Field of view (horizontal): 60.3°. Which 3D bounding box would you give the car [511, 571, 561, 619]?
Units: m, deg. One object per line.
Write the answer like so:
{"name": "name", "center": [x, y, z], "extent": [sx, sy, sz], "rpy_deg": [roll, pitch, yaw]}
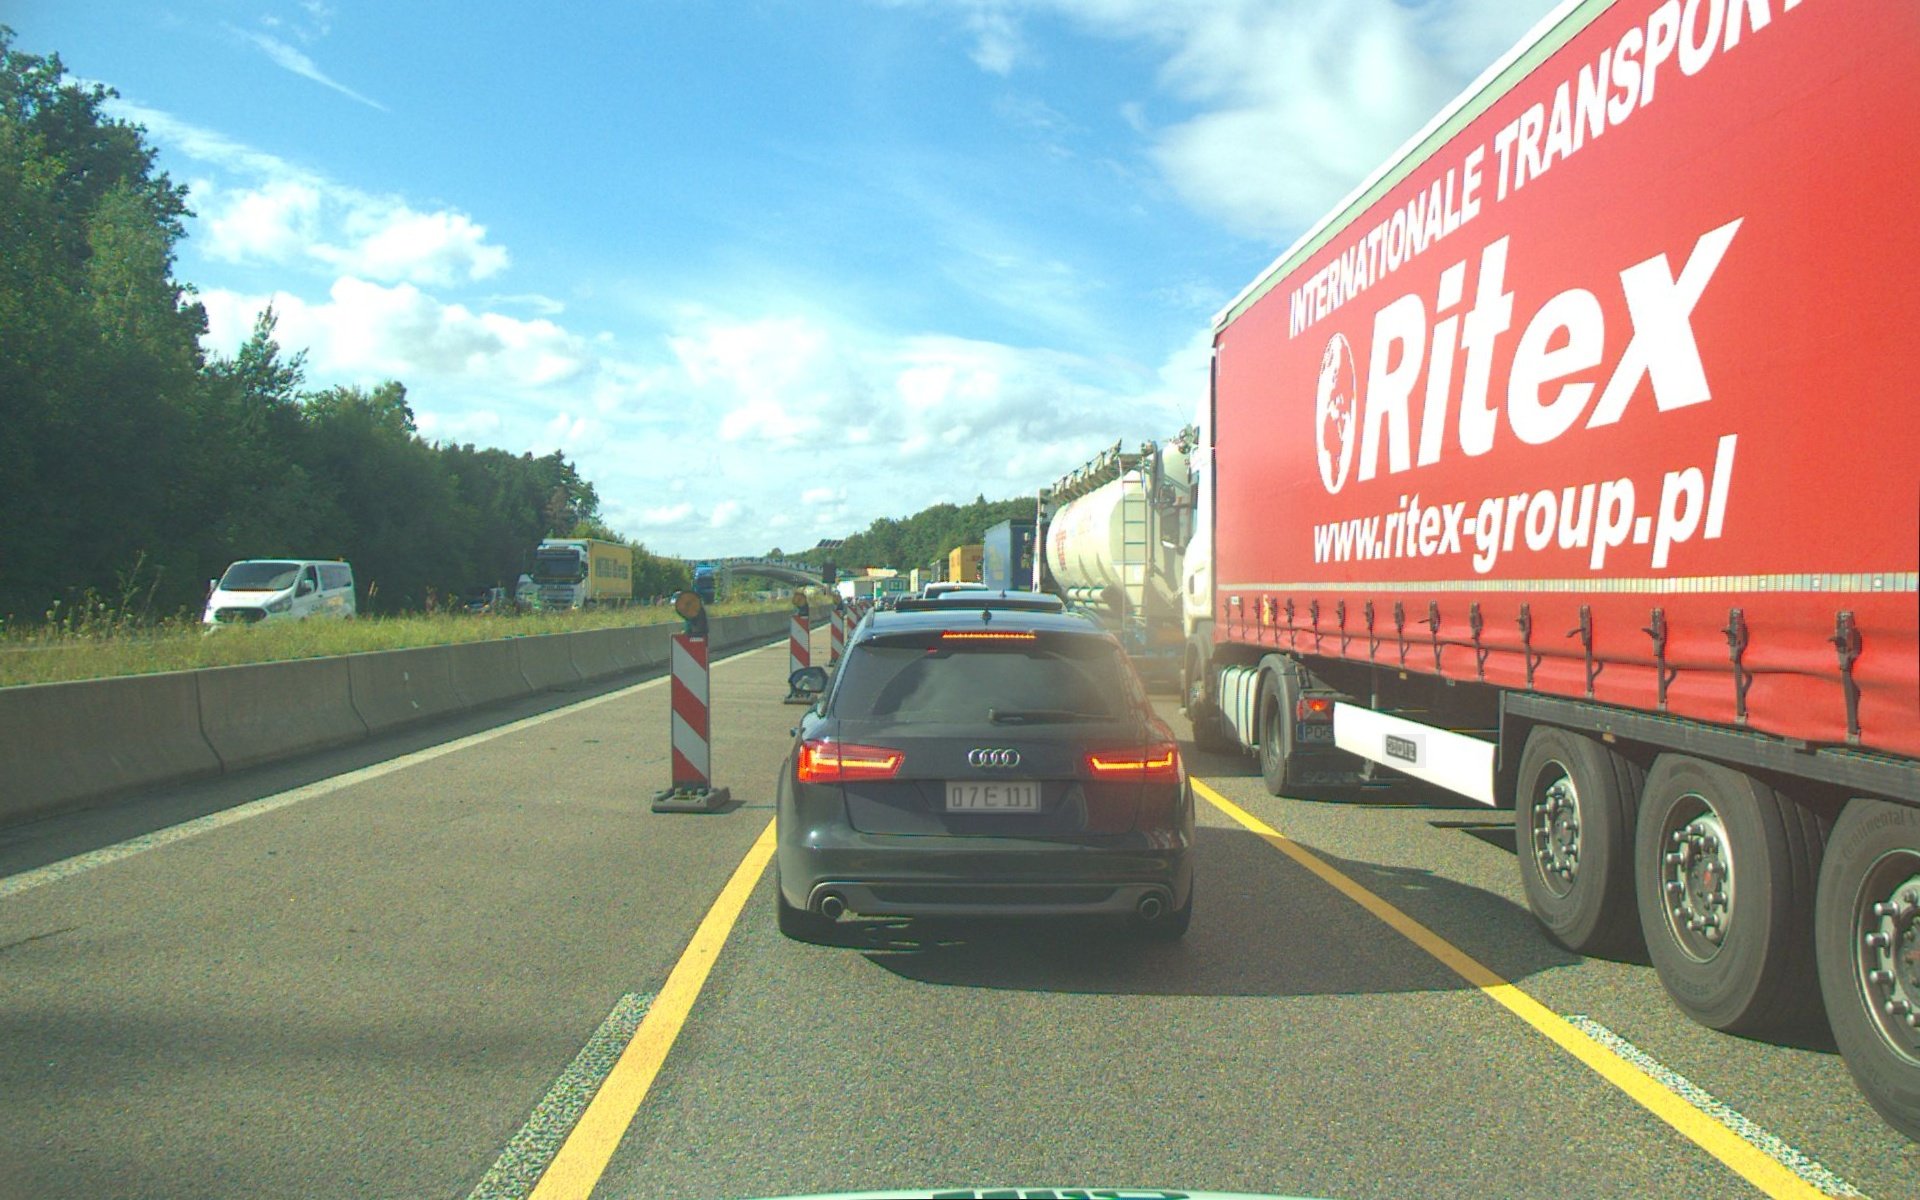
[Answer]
{"name": "car", "center": [-24.854, -0.270, 97.053], "extent": [2.208, 2.689, 5.010], "rpy_deg": [1, 0, -8]}

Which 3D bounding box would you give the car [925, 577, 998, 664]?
{"name": "car", "center": [0.013, 0.450, 37.420], "extent": [1.549, 1.869, 3.111], "rpy_deg": [1, 0, -1]}

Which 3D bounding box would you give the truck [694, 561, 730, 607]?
{"name": "truck", "center": [-23.734, -1.546, 158.481], "extent": [2.584, 4.262, 5.466], "rpy_deg": [1, 0, -1]}

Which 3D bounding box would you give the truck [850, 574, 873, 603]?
{"name": "truck", "center": [-14.846, -1.740, 248.916], "extent": [3.239, 4.248, 9.694], "rpy_deg": [1, 0, -4]}

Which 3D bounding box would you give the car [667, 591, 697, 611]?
{"name": "car", "center": [-22.342, 0.101, 133.223], "extent": [1.751, 1.588, 3.999], "rpy_deg": [1, 0, -1]}

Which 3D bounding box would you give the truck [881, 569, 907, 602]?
{"name": "truck", "center": [-8.652, -1.842, 216.453], "extent": [3.238, 4.248, 9.696], "rpy_deg": [1, 0, -3]}

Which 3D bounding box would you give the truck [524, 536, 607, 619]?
{"name": "truck", "center": [-19.877, -1.092, 83.607], "extent": [2.769, 3.977, 5.947], "rpy_deg": [1, 0, -1]}

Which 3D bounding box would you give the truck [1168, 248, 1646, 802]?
{"name": "truck", "center": [3.647, -0.554, 14.988], "extent": [2.614, 4.029, 5.709], "rpy_deg": [1, 0, -2]}

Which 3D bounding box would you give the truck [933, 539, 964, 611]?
{"name": "truck", "center": [-0.906, -1.785, 121.112], "extent": [1.953, 5.000, 9.558], "rpy_deg": [1, 0, -2]}

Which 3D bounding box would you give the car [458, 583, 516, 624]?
{"name": "car", "center": [-24.905, 0.202, 87.189], "extent": [1.953, 2.049, 3.999], "rpy_deg": [1, 0, -1]}

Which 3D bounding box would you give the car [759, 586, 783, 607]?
{"name": "car", "center": [-18.449, -0.375, 161.361], "extent": [1.953, 1.982, 3.998], "rpy_deg": [1, 0, -2]}

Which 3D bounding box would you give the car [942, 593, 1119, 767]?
{"name": "car", "center": [0.595, 0.700, 15.899], "extent": [1.493, 1.464, 3.284], "rpy_deg": [1, 0, -1]}

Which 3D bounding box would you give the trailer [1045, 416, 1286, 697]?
{"name": "trailer", "center": [3.298, -0.632, 30.225], "extent": [2.590, 4.012, 12.595], "rpy_deg": [1, 0, -1]}

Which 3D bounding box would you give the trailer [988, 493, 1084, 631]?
{"name": "trailer", "center": [2.587, -1.216, 59.584], "extent": [2.748, 4.490, 10.430], "rpy_deg": [1, 0, -1]}

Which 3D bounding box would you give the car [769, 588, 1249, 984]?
{"name": "car", "center": [0.163, 0.719, 8.277], "extent": [1.811, 1.489, 3.999], "rpy_deg": [1, 0, -1]}

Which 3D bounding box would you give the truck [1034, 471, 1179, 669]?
{"name": "truck", "center": [3.171, -0.606, 37.208], "extent": [2.605, 4.041, 5.777], "rpy_deg": [1, 0, -1]}

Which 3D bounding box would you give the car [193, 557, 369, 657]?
{"name": "car", "center": [-15.098, 0.156, 37.095], "extent": [1.953, 2.049, 4.830], "rpy_deg": [1, 0, -1]}

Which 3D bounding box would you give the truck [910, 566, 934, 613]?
{"name": "truck", "center": [-3.543, -0.937, 154.250], "extent": [2.094, 4.332, 7.069], "rpy_deg": [1, 0, -1]}

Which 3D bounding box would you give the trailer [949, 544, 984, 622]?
{"name": "trailer", "center": [0.334, -0.864, 87.944], "extent": [1.584, 3.987, 6.487], "rpy_deg": [1, 0, -2]}

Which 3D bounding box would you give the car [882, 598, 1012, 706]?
{"name": "car", "center": [-0.196, 0.706, 23.894], "extent": [1.716, 1.421, 3.607], "rpy_deg": [1, 0, -1]}

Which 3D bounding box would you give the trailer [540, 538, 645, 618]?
{"name": "trailer", "center": [-19.956, -1.067, 90.881], "extent": [2.770, 3.991, 13.937], "rpy_deg": [1, 0, -1]}

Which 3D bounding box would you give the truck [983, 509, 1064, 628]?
{"name": "truck", "center": [2.464, -1.168, 66.630], "extent": [2.749, 4.446, 7.790], "rpy_deg": [1, 0, -1]}

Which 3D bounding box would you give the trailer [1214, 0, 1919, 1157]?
{"name": "trailer", "center": [3.807, -0.532, 8.277], "extent": [2.645, 4.038, 13.413], "rpy_deg": [1, 0, -1]}
